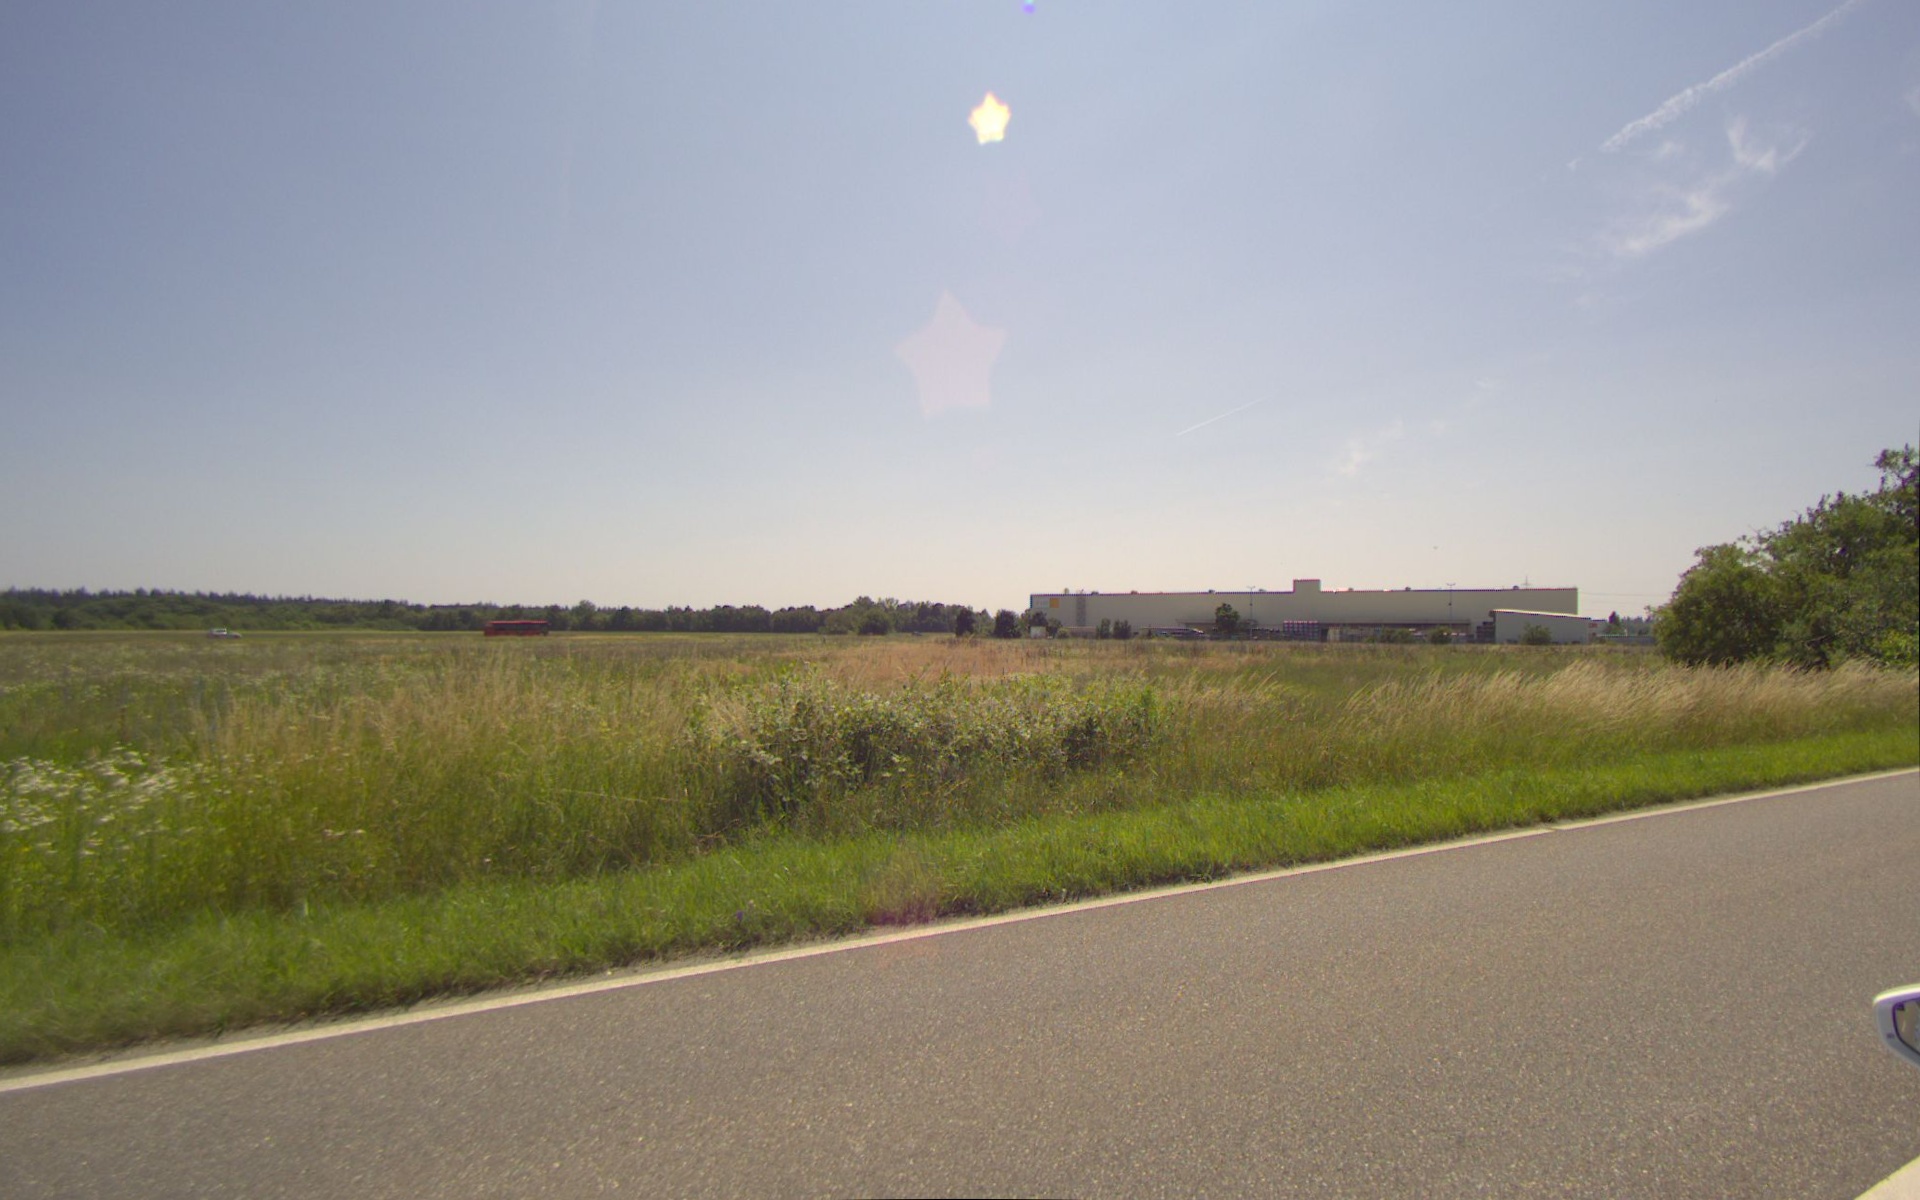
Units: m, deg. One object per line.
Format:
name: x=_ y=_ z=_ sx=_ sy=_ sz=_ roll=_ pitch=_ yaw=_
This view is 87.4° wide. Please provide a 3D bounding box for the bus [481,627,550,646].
bus: x=-80.247 y=6.553 z=181.690 sx=3.252 sy=3.352 sz=11.978 roll=0 pitch=-2 yaw=26
